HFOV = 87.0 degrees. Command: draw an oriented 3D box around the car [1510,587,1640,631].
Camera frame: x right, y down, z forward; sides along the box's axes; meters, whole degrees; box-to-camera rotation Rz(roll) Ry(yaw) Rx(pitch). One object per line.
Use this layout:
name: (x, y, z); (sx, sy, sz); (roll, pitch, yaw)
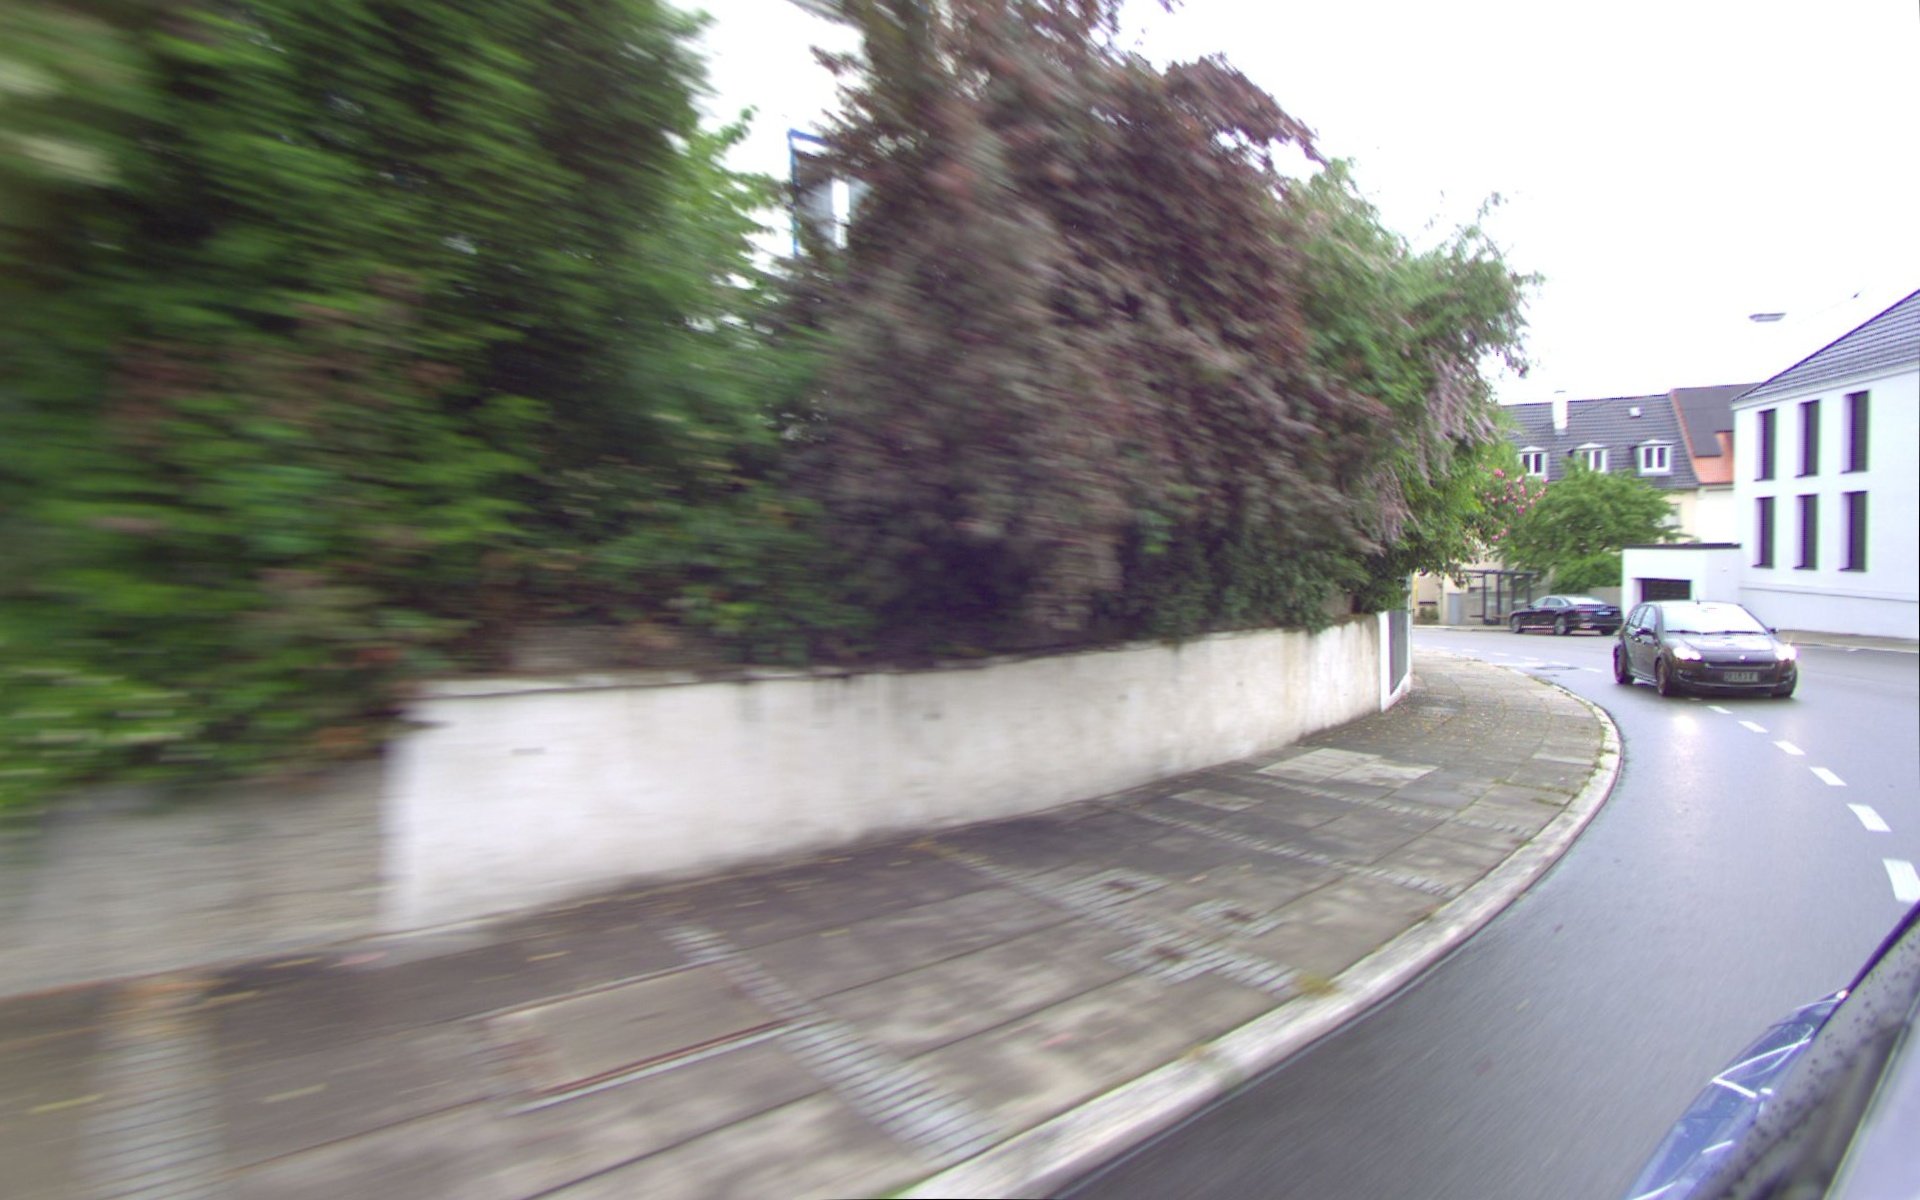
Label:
car: (22.861, 0.297, 37.894); (1.800, 1.504, 4.991); (-1, 0, 0)

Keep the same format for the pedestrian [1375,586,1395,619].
pedestrian: (24.810, 0.158, 59.092); (0.774, 1.880, 0.728); (-3, 0, -1)

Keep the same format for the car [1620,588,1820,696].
car: (11.994, 0.602, 16.242); (1.662, 1.430, 3.610); (-3, 1, 23)

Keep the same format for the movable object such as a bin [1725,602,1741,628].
movable object such as a bin: (26.860, 0.519, 35.165); (0.364, 0.924, 0.283); (0, 0, 0)
